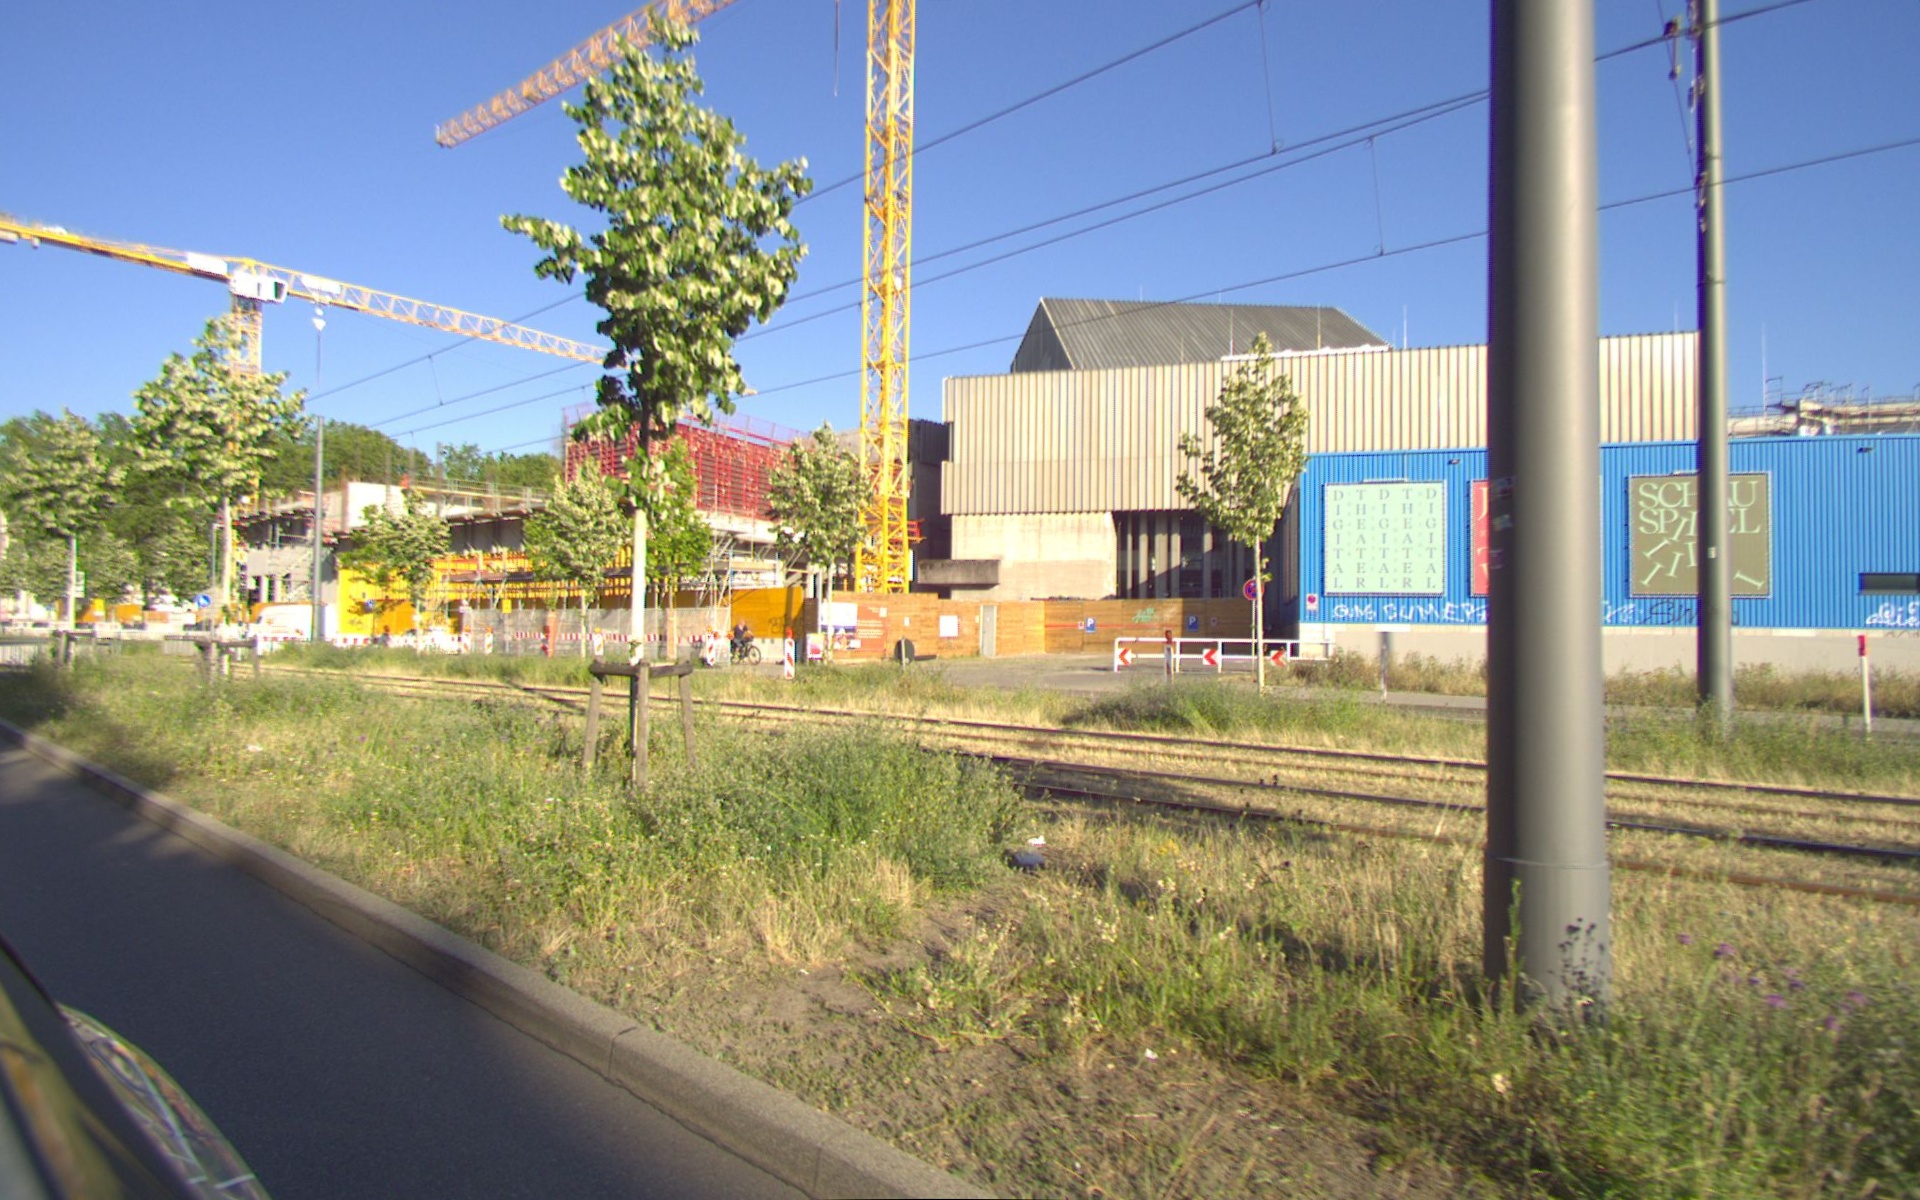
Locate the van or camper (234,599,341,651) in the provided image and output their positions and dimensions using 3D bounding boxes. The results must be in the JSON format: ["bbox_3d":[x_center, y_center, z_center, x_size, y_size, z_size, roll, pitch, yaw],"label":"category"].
[{"bbox_3d":[-35.372,1.331,53.160,7.186,2.529,2.202,-1,-4,36],"label":"van or camper"}]
